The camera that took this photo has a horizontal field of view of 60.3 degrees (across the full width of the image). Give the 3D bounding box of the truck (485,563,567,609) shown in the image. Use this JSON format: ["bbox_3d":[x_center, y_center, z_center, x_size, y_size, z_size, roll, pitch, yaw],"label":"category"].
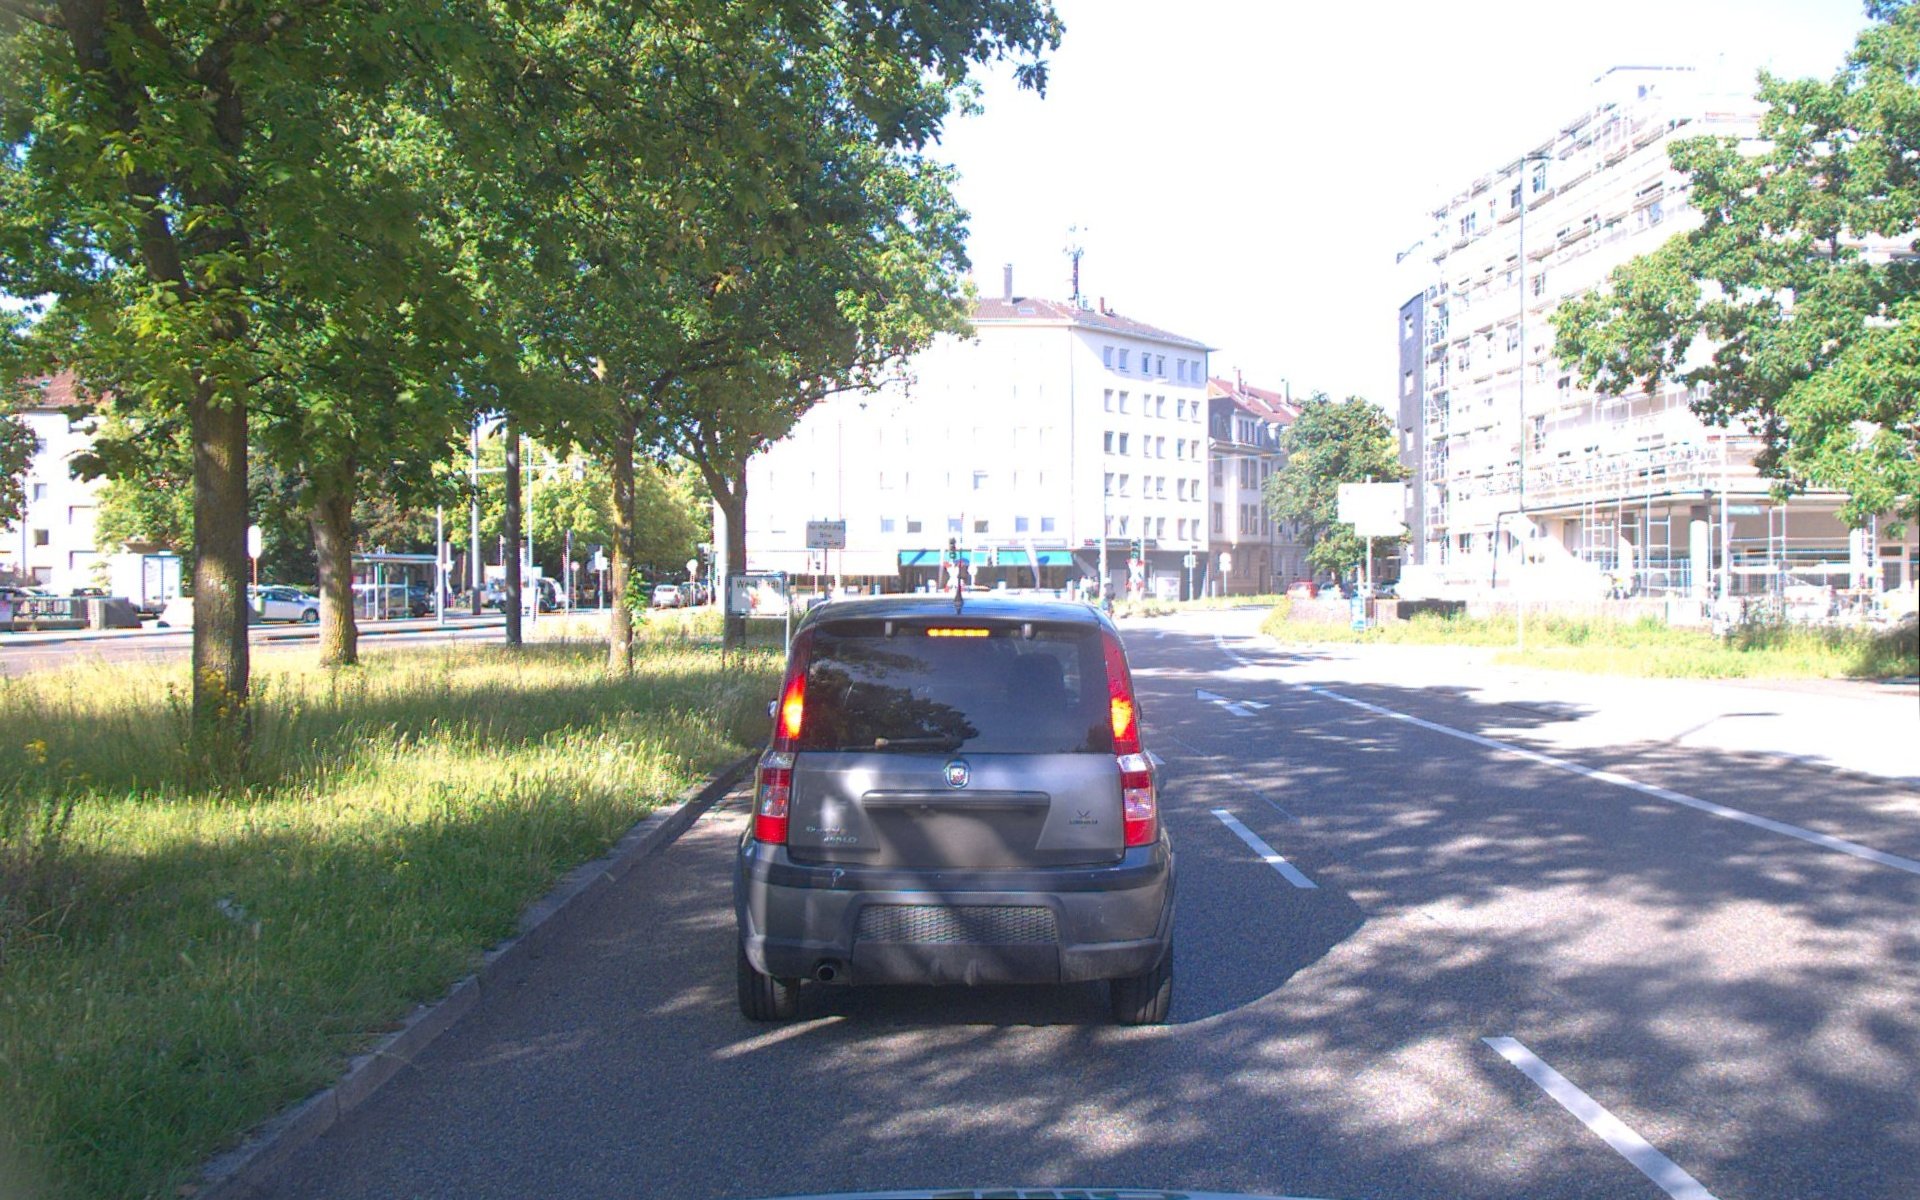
[{"bbox_3d":[-23.555,-0.779,89.802,4.016,2.469,1.792,0,0,-4],"label":"truck"}]

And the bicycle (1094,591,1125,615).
[{"bbox_3d":[6.292,0.131,69.708,0.769,0.968,1.849,1,0,-14],"label":"bicycle"}]

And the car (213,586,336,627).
[{"bbox_3d":[-29.235,0.245,70.596,1.840,1.570,4.521,4,3,42],"label":"car"}]

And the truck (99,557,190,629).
[{"bbox_3d":[-36.019,-0.357,72.982,4.742,3.047,1.988,1,1,42],"label":"truck"}]

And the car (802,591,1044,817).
[{"bbox_3d":[-0.267,0.678,12.764,1.588,1.454,3.688,0,1,-1],"label":"car"}]

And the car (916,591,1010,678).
[{"bbox_3d":[0.073,0.580,30.044,1.612,1.463,3.396,0,1,1],"label":"car"}]

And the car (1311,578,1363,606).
[{"bbox_3d":[20.665,-0.477,90.684,1.742,1.468,3.610,1,1,31],"label":"car"}]

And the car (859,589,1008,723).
[{"bbox_3d":[-0.341,0.631,21.290,1.724,1.512,4.292,0,1,-1],"label":"car"}]

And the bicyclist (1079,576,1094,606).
[{"bbox_3d":[5.697,-0.409,74.595,0.521,1.380,0.596,0,0,-12],"label":"bicyclist"}]

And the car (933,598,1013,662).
[{"bbox_3d":[0.314,0.621,35.996,1.655,1.275,3.627,-1,1,1],"label":"car"}]

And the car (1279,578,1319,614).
[{"bbox_3d":[19.546,-0.215,95.333,1.951,2.049,4.003,1,0,15],"label":"car"}]

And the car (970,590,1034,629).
[{"bbox_3d":[1.506,0.310,58.081,1.951,1.264,4.003,0,1,6],"label":"car"}]

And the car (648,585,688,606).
[{"bbox_3d":[-19.026,-0.291,107.856,1.953,1.333,3.999,0,1,-1],"label":"car"}]

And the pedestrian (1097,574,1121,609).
[{"bbox_3d":[6.286,-0.343,69.764,0.760,1.452,0.935,1,0,-14],"label":"pedestrian"}]

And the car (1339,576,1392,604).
[{"bbox_3d":[23.294,-0.559,94.852,1.787,1.534,3.990,0,1,32],"label":"car"}]

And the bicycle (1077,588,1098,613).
[{"bbox_3d":[5.723,0.031,74.480,0.521,1.109,1.580,0,1,-12],"label":"bicycle"}]

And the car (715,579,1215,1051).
[{"bbox_3d":[0.041,0.685,7.031,1.625,1.536,3.252,0,1,1],"label":"car"}]

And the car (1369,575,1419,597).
[{"bbox_3d":[31.866,-1.040,121.491,1.872,1.621,3.986,-1,1,-13],"label":"car"}]
